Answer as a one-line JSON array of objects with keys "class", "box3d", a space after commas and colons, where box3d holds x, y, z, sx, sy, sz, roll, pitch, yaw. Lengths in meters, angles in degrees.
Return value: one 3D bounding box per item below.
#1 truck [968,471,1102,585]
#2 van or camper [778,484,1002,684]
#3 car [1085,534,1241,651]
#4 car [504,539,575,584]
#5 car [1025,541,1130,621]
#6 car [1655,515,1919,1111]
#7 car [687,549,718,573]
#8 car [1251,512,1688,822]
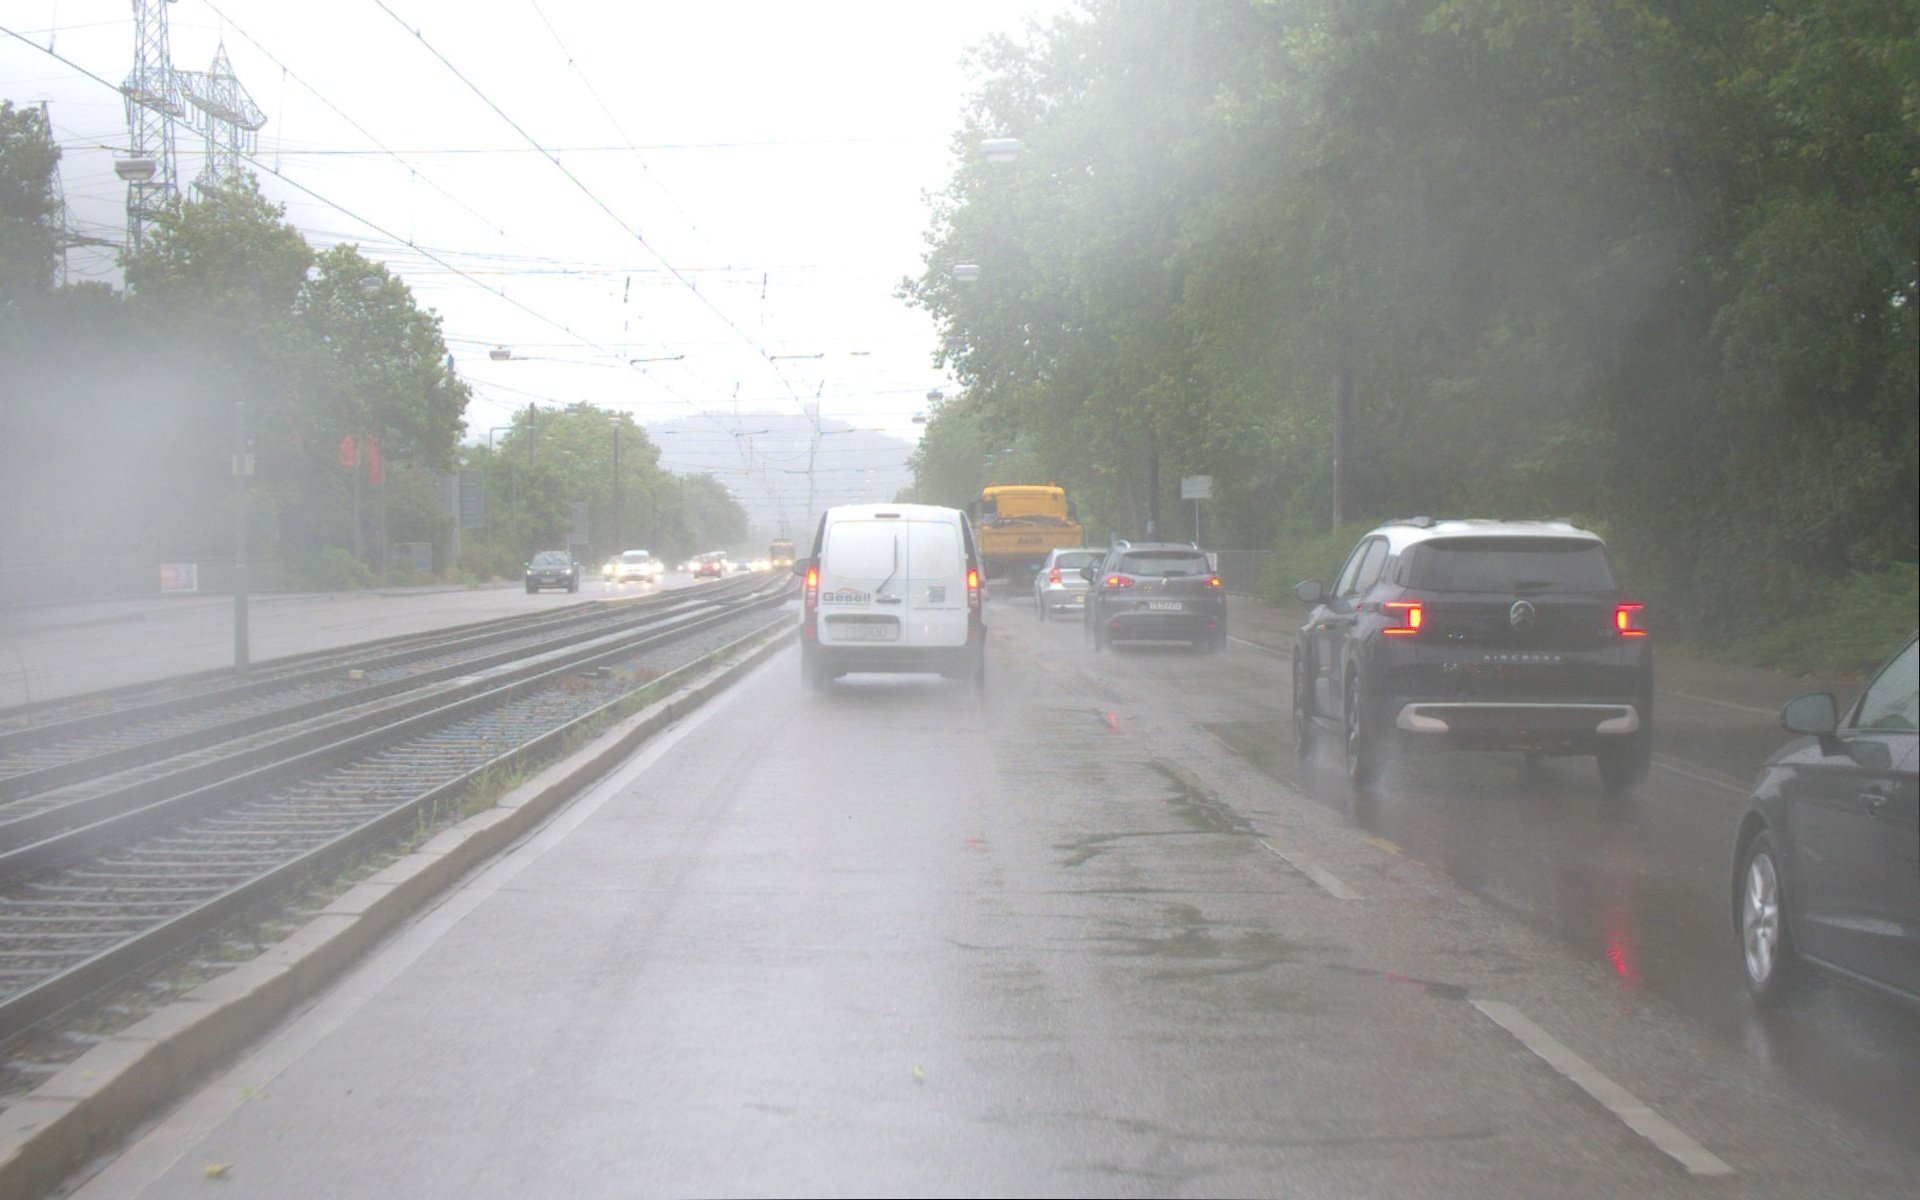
[{"class": "truck", "box3d": [1.843, -1.837, 87.615, 3.112, 2.763, 6.330, 1, 1, -1]}, {"class": "van or camper", "box3d": [-0.751, -0.214, 33.705, 1.993, 1.778, 4.001, 2, 2, -3]}, {"class": "car", "box3d": [2.665, -0.133, 45.907, 1.818, 1.409, 3.779, 1, 2, 0]}, {"class": "car", "box3d": [-15.456, -1.428, 126.561, 1.993, 1.612, 4.253, 0, 1, 1]}, {"class": "car", "box3d": [2.218, -0.385, 65.765, 1.818, 1.409, 3.779, 1, 2, 0]}, {"class": "car", "box3d": [3.445, 0.554, 9.712, 1.967, 1.523, 3.991, 1, 2, -2]}, {"class": "car", "box3d": [-16.418, -2.497, 219.128, 1.657, 1.481, 4.013, 0, 1, 0]}, {"class": "car", "box3d": [3.105, 0.326, 21.962, 1.899, 1.711, 4.726, 1, 2, -2]}]
